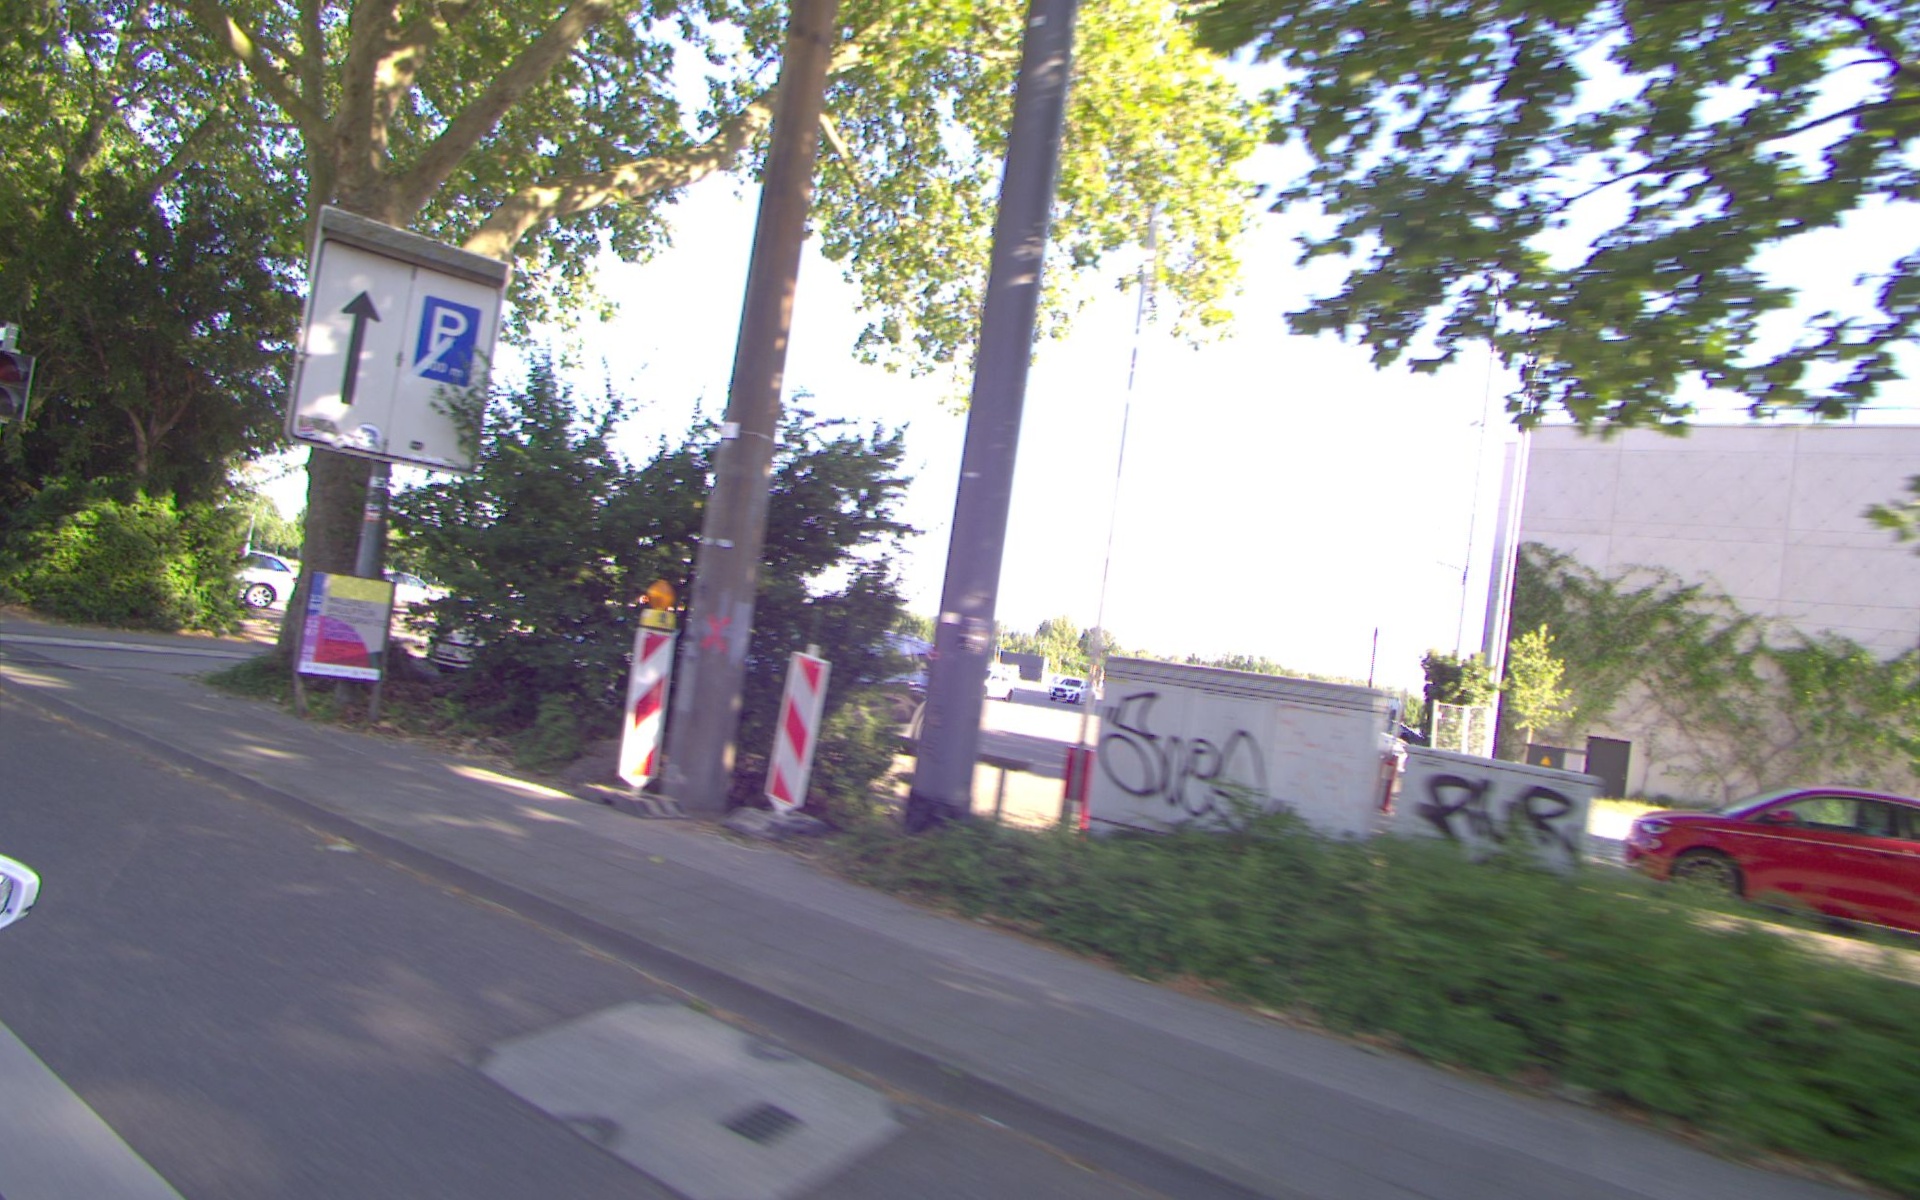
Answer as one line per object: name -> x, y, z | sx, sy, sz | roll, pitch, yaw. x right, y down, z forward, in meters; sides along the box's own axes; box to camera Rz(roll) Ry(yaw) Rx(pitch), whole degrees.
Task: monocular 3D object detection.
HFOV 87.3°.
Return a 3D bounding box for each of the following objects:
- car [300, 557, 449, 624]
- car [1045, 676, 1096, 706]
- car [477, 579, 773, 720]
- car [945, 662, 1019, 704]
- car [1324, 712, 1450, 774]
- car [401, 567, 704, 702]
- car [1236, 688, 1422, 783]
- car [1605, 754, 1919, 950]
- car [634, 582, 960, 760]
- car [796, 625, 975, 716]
car -> -22.223, -0.317, 38.343 | 1.965, 1.835, 4.368 | 7, -4, 27
car -> 7.264, 5.958, 65.791 | 1.697, 1.541, 4.264 | 7, -4, 28
car -> -4.562, 0.772, 14.185 | 1.651, 1.478, 3.604 | 7, -4, 32
car -> 1.056, 3.896, 46.853 | 1.697, 1.541, 4.001 | 7, -4, 28
car -> 15.595, 5.187, 36.756 | 3.931, 1.572, 1.925 | 6, -4, 29
car -> -6.187, 0.610, 15.706 | 1.857, 1.521, 3.896 | 7, -4, 32
car -> 9.039, 3.291, 24.710 | 3.933, 1.627, 1.570 | 6, -3, 31
car -> 9.564, 2.814, 11.279 | 3.740, 1.531, 1.619 | 6, -3, 32
car -> -1.897, 1.011, 12.984 | 1.803, 1.783, 3.998 | 6, -4, 32
car -> -1.729, 1.794, 24.910 | 1.888, 1.676, 4.467 | 6, -4, 35
